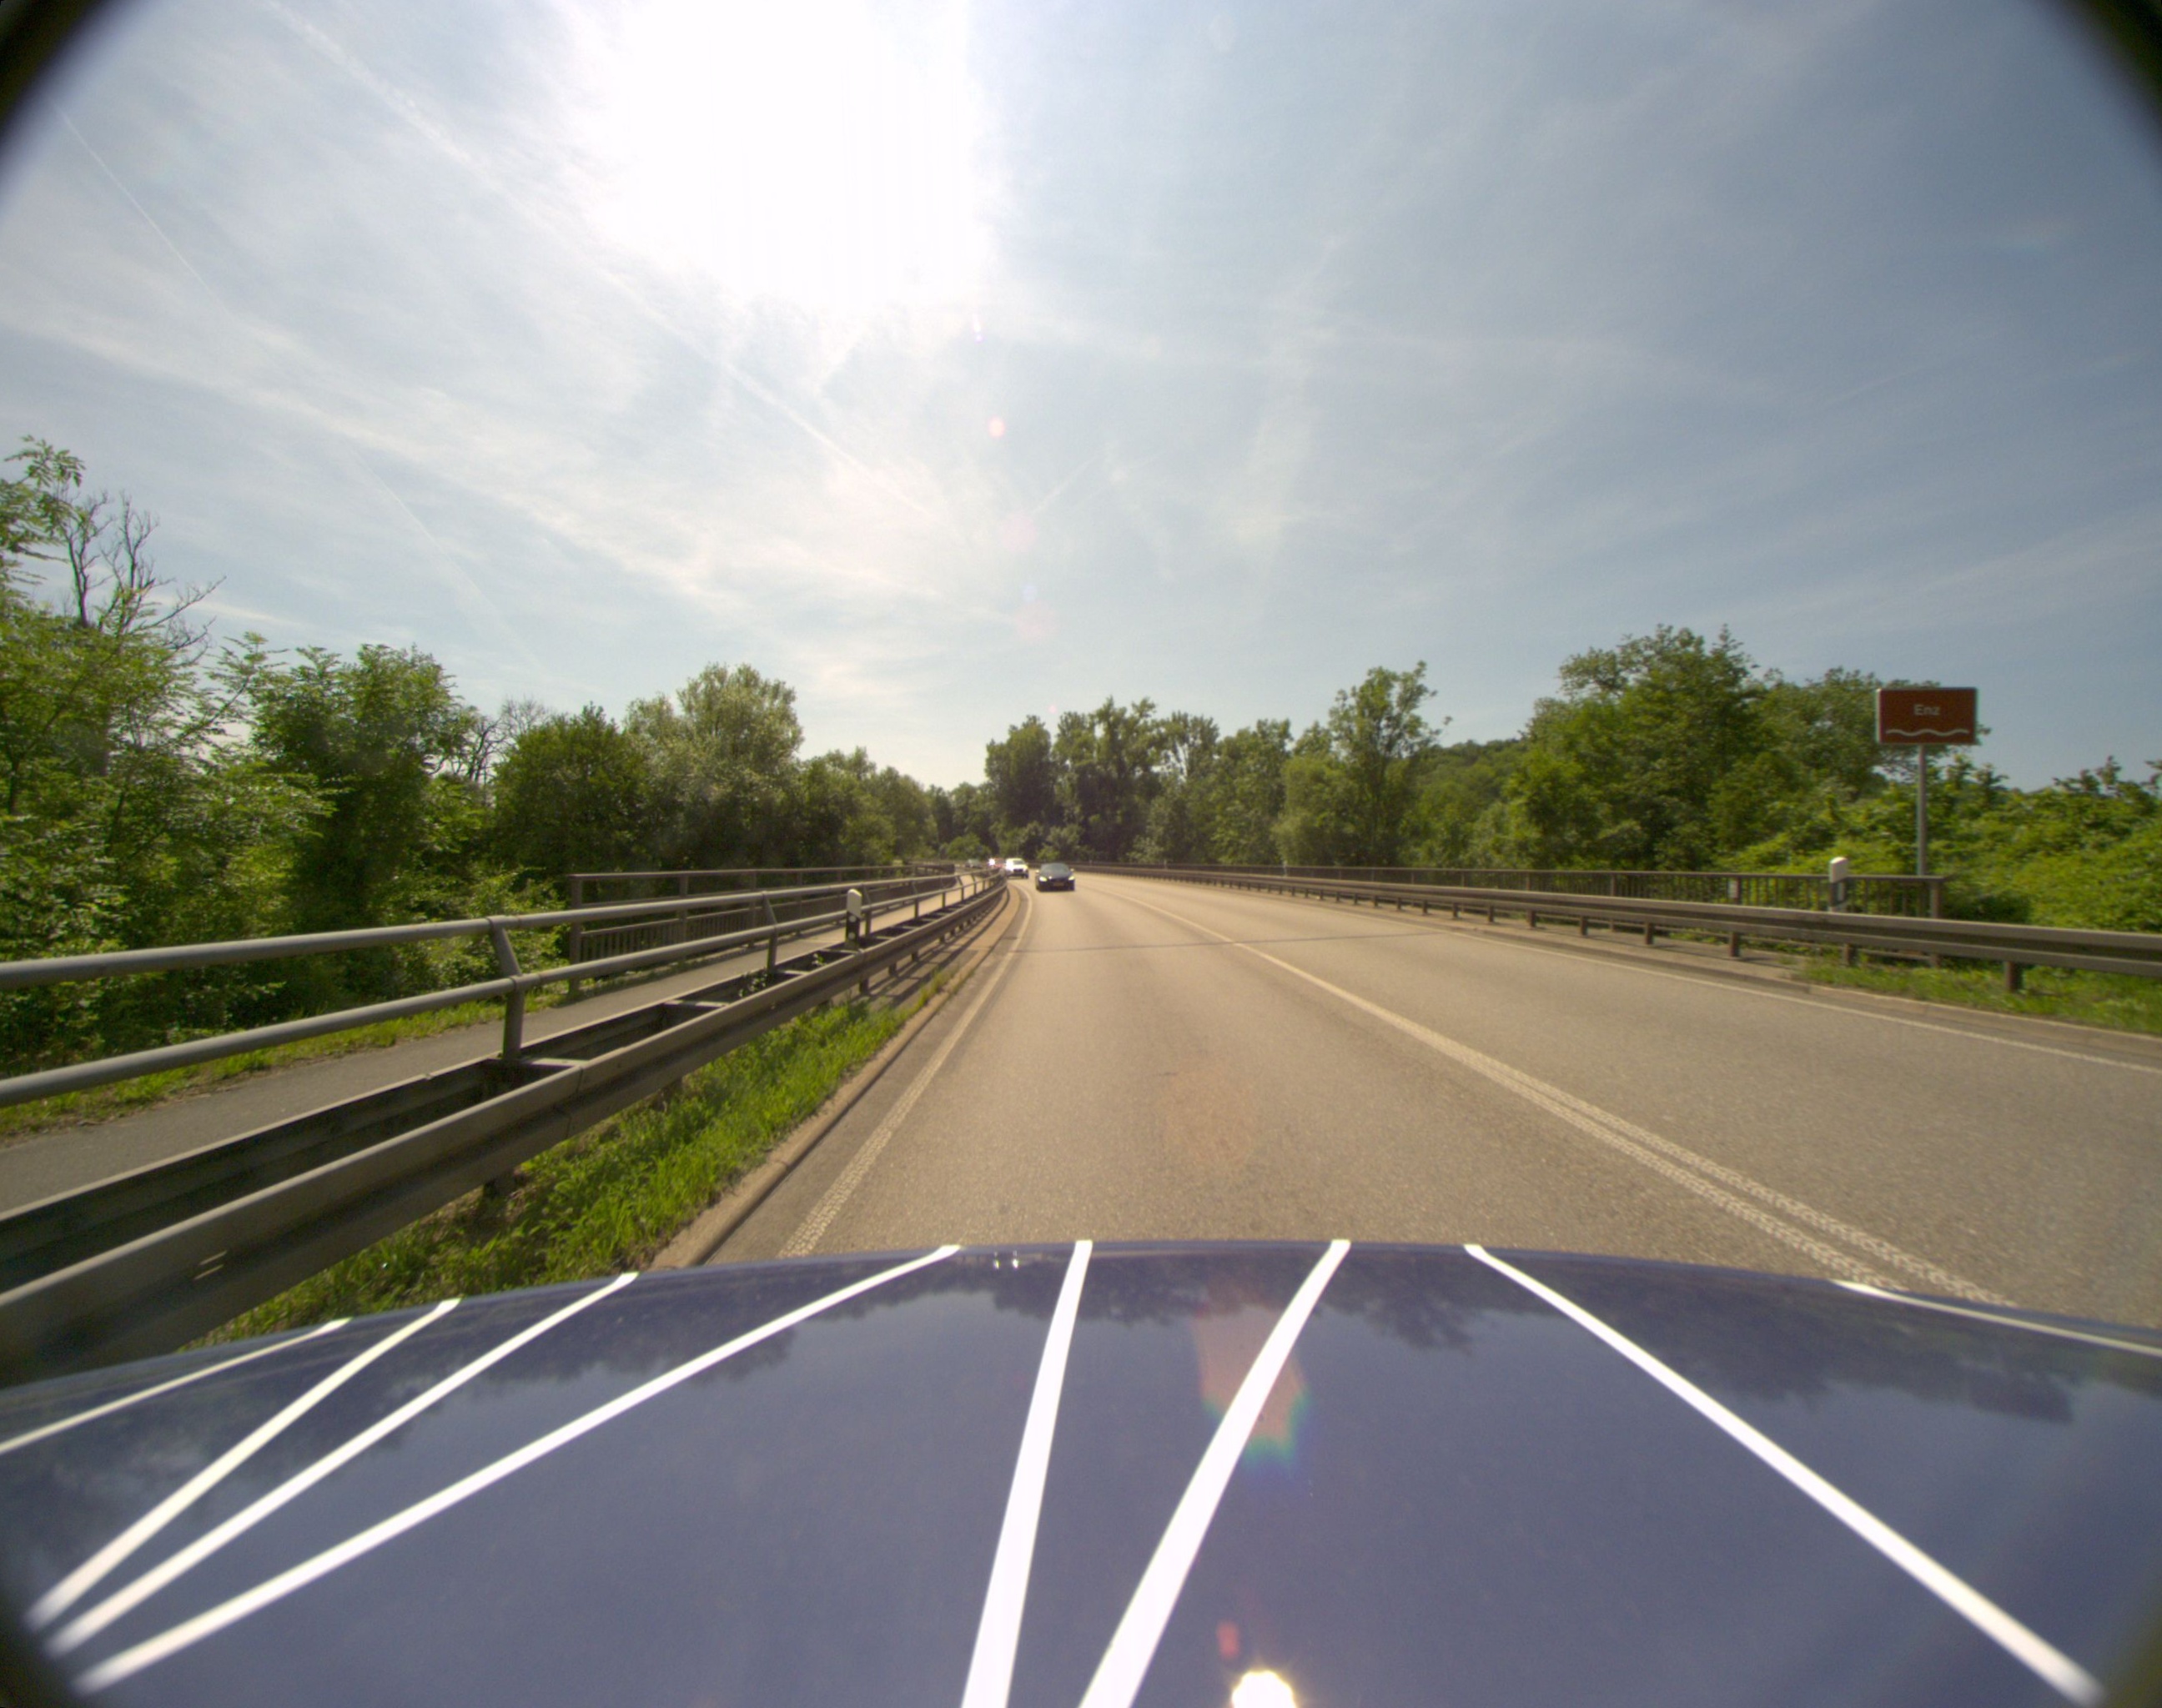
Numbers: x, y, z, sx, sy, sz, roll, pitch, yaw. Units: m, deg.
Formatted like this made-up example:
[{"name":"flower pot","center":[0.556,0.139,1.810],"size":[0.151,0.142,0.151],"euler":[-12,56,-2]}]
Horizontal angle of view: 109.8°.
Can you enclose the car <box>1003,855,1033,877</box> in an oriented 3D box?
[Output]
[{"name":"car","center":[-5.245,1.001,63.067],"size":[1.911,1.638,3.947],"euler":[-3,0,-11]}]

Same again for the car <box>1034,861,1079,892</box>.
[{"name":"car","center":[-1.306,1.105,39.218],"size":[1.910,1.413,3.948],"euler":[-3,0,-7]}]

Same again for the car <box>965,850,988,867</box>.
[{"name":"car","center":[-12.967,0.577,94.195],"size":[2.001,2.002,3.993],"euler":[-3,1,-19]}]

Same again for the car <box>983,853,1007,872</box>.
[{"name":"car","center":[-8.749,0.874,77.059],"size":[2.000,1.765,3.996],"euler":[-3,0,-12]}]
